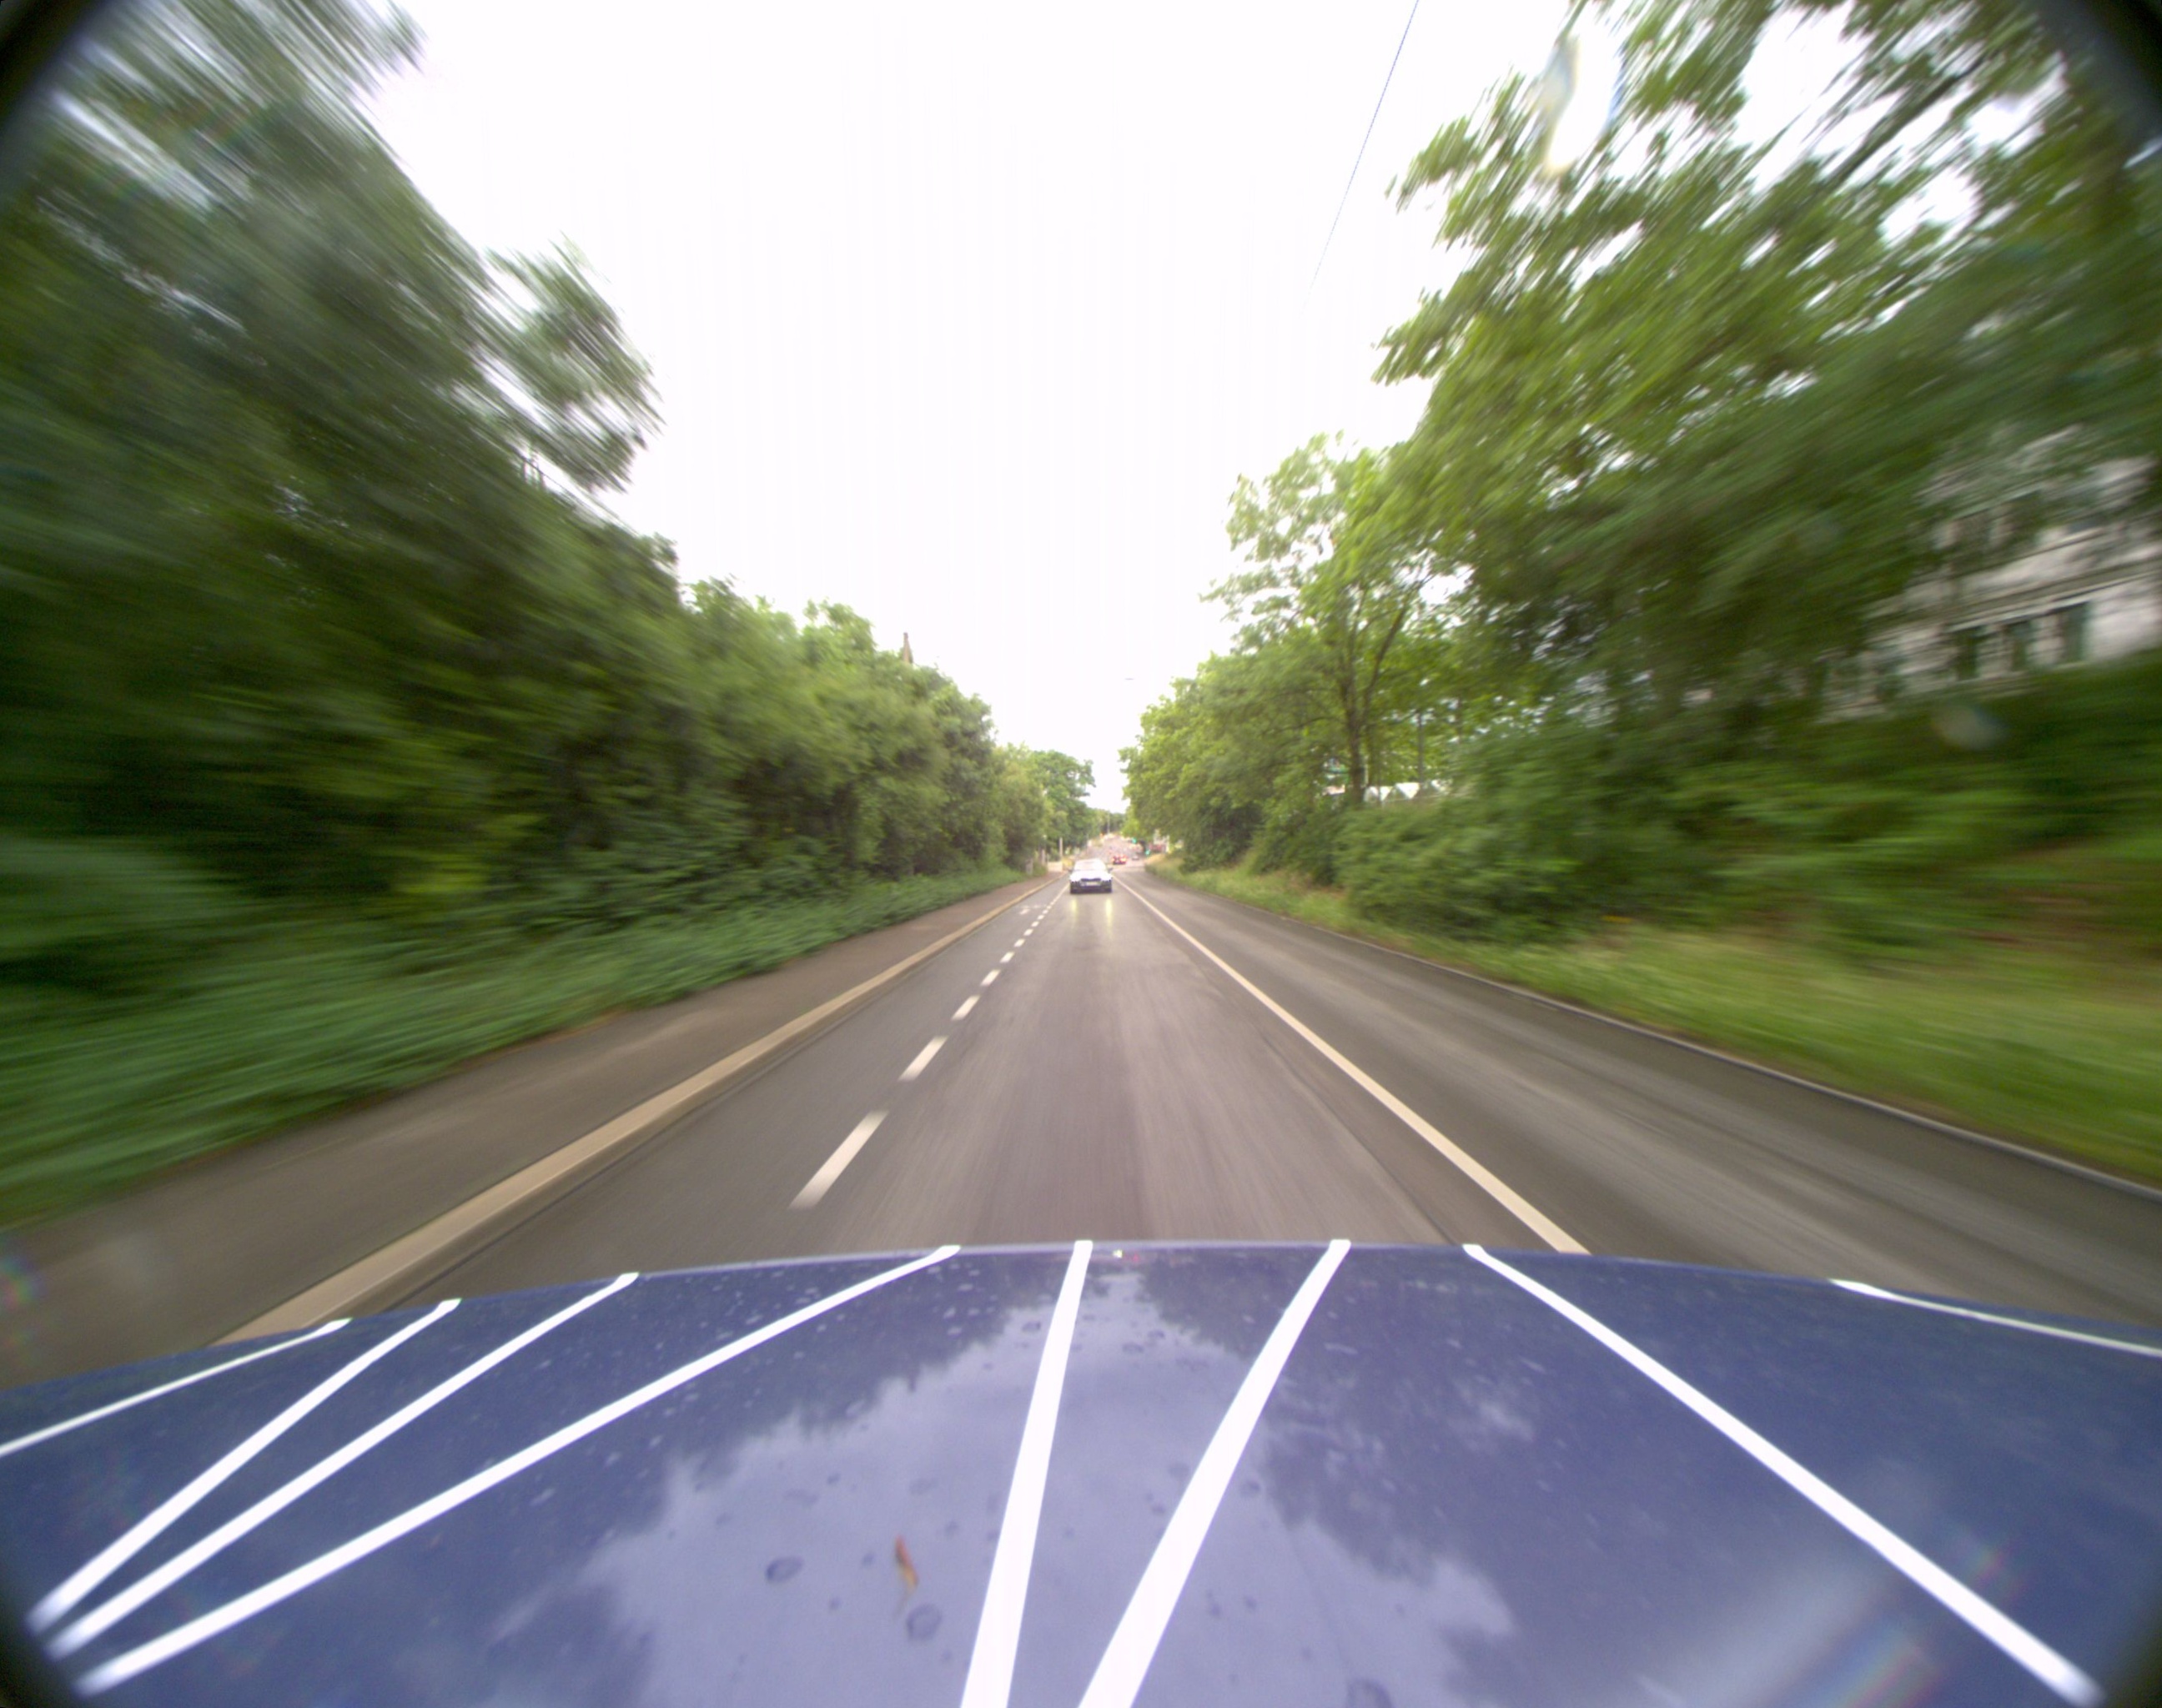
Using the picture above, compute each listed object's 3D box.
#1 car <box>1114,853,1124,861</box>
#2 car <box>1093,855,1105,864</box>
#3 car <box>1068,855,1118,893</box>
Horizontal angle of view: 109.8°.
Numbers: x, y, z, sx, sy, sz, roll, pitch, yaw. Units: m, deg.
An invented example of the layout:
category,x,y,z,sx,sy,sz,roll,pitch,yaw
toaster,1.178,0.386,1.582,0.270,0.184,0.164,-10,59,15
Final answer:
category,x,y,z,sx,sy,sz,roll,pitch,yaw
car,7.688,0.592,154.034,1.981,1.497,4.000,-2,0,1
car,3.053,0.914,132.473,1.981,1.497,4.000,-2,0,1
car,0.513,0.825,33.407,1.981,1.497,4.000,-2,0,1
